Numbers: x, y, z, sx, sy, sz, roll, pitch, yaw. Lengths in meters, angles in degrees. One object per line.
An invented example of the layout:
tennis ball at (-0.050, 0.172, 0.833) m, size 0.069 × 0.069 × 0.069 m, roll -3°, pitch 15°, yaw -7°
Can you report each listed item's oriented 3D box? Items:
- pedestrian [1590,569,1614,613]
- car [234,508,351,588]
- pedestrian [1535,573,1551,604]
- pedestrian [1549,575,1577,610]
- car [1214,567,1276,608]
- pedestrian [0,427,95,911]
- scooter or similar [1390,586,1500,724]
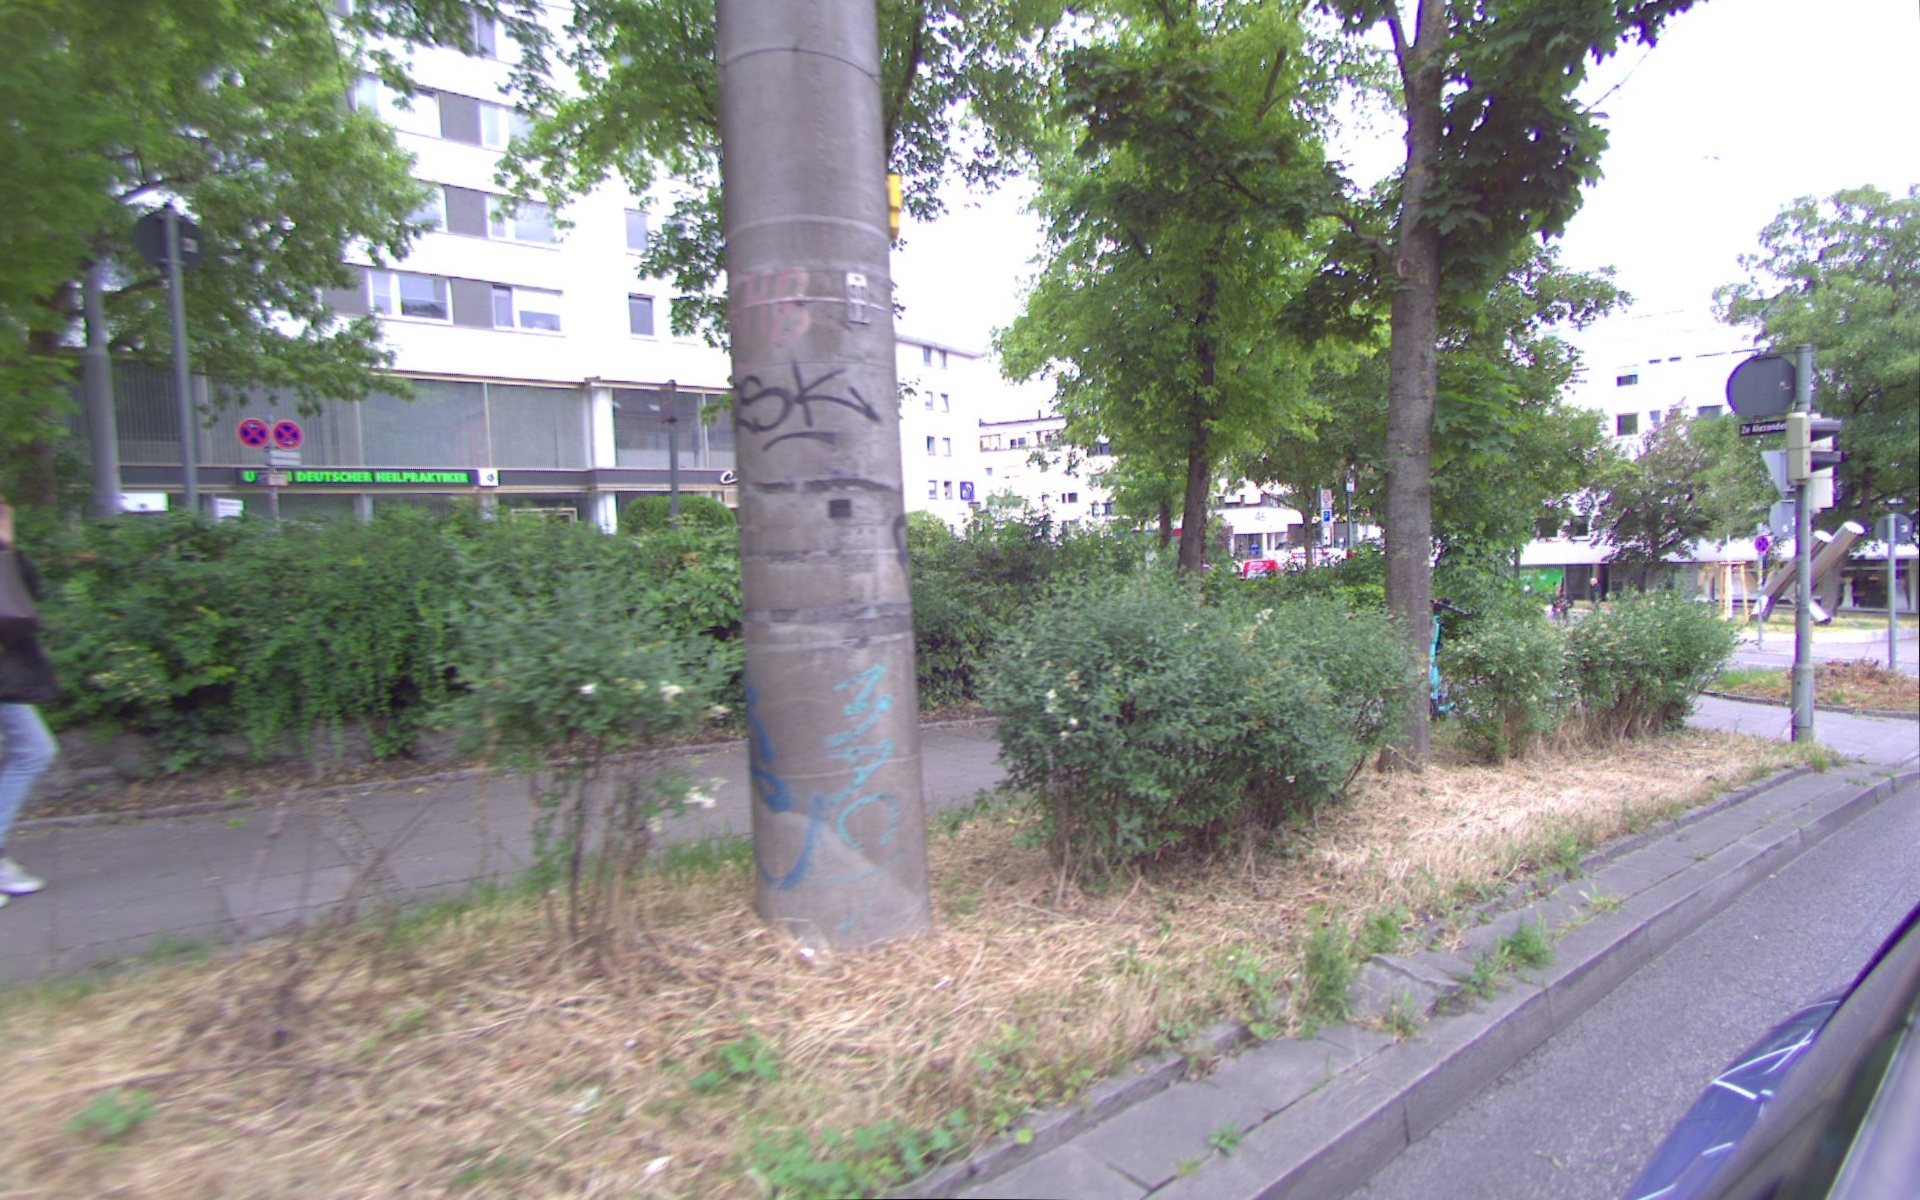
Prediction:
pedestrian at (24.134, -0.358, 38.058) m, size 0.721 × 1.622 × 0.784 m, roll 1°, pitch 1°, yaw 31°
car at (-14.804, -1.189, 22.341) m, size 1.800 × 1.589 × 3.999 m, roll 0°, pitch 4°, yaw -39°
pedestrian at (29.344, -0.577, 50.931) m, size 0.521 × 1.552 × 0.671 m, roll 1°, pitch 1°, yaw 15°
pedestrian at (22.891, -0.273, 38.429) m, size 0.671 × 1.308 × 0.657 m, roll 0°, pitch 1°, yaw -27°
car at (11.648, -0.520, 41.274) m, size 1.732 × 1.584 × 3.682 m, roll 1°, pitch 1°, yaw 27°
pedestrian at (-3.789, 0.239, 3.803) m, size 0.771 × 1.724 × 0.773 m, roll 0°, pitch 1°, yaw -37°
scooter or similar at (4.761, 0.485, 9.890) m, size 0.629 × 1.225 × 1.536 m, roll 1°, pitch 2°, yaw 39°
